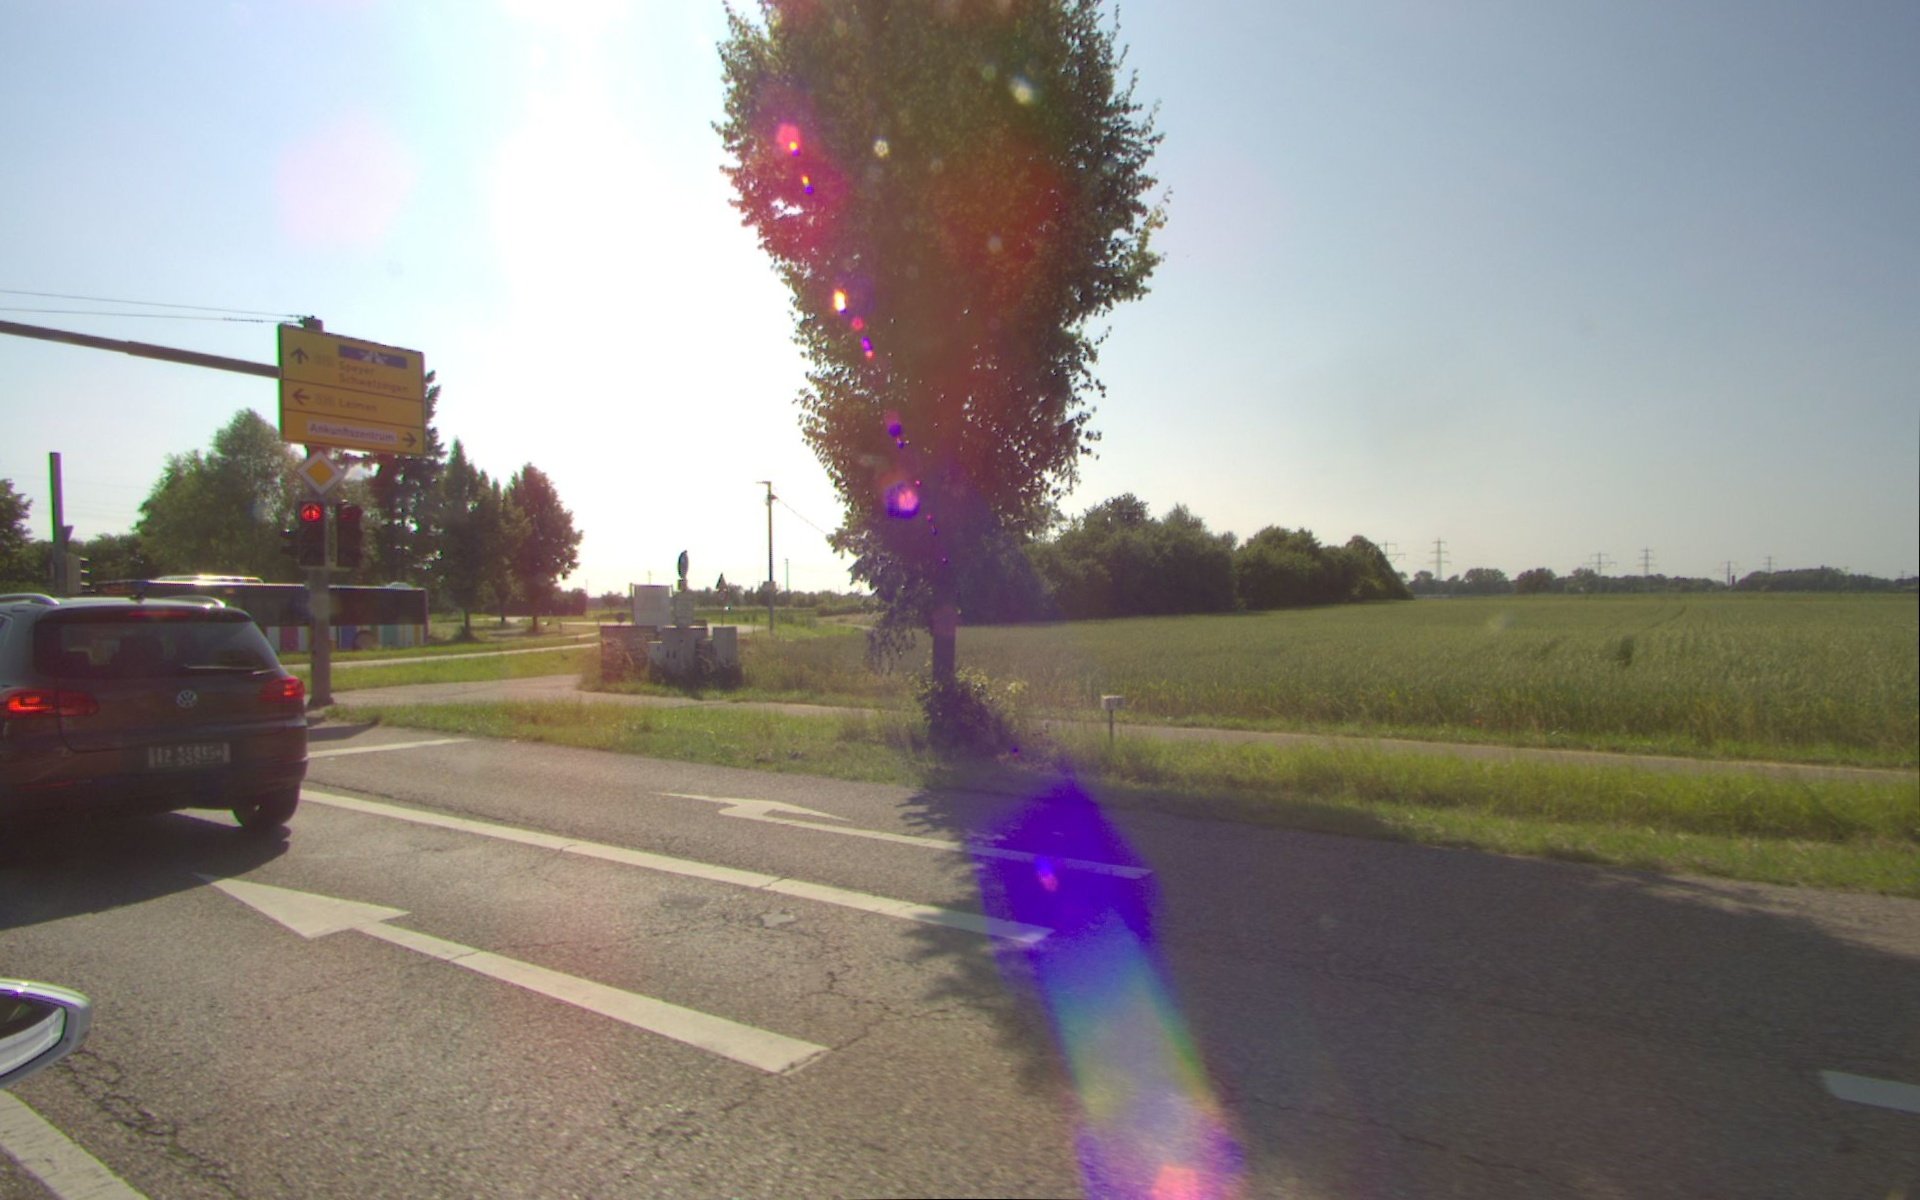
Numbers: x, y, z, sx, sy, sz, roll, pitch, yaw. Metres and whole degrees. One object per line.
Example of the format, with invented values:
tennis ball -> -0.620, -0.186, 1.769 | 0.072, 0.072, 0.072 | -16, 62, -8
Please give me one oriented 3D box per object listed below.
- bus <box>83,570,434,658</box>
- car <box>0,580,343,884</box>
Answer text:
bus -> -26.526, 0.438, 39.195 | 2.889, 2.915, 11.956 | -1, 0, 17
car -> -6.527, 0.777, 7.364 | 4.086, 1.676, 1.753 | -1, -2, 32
